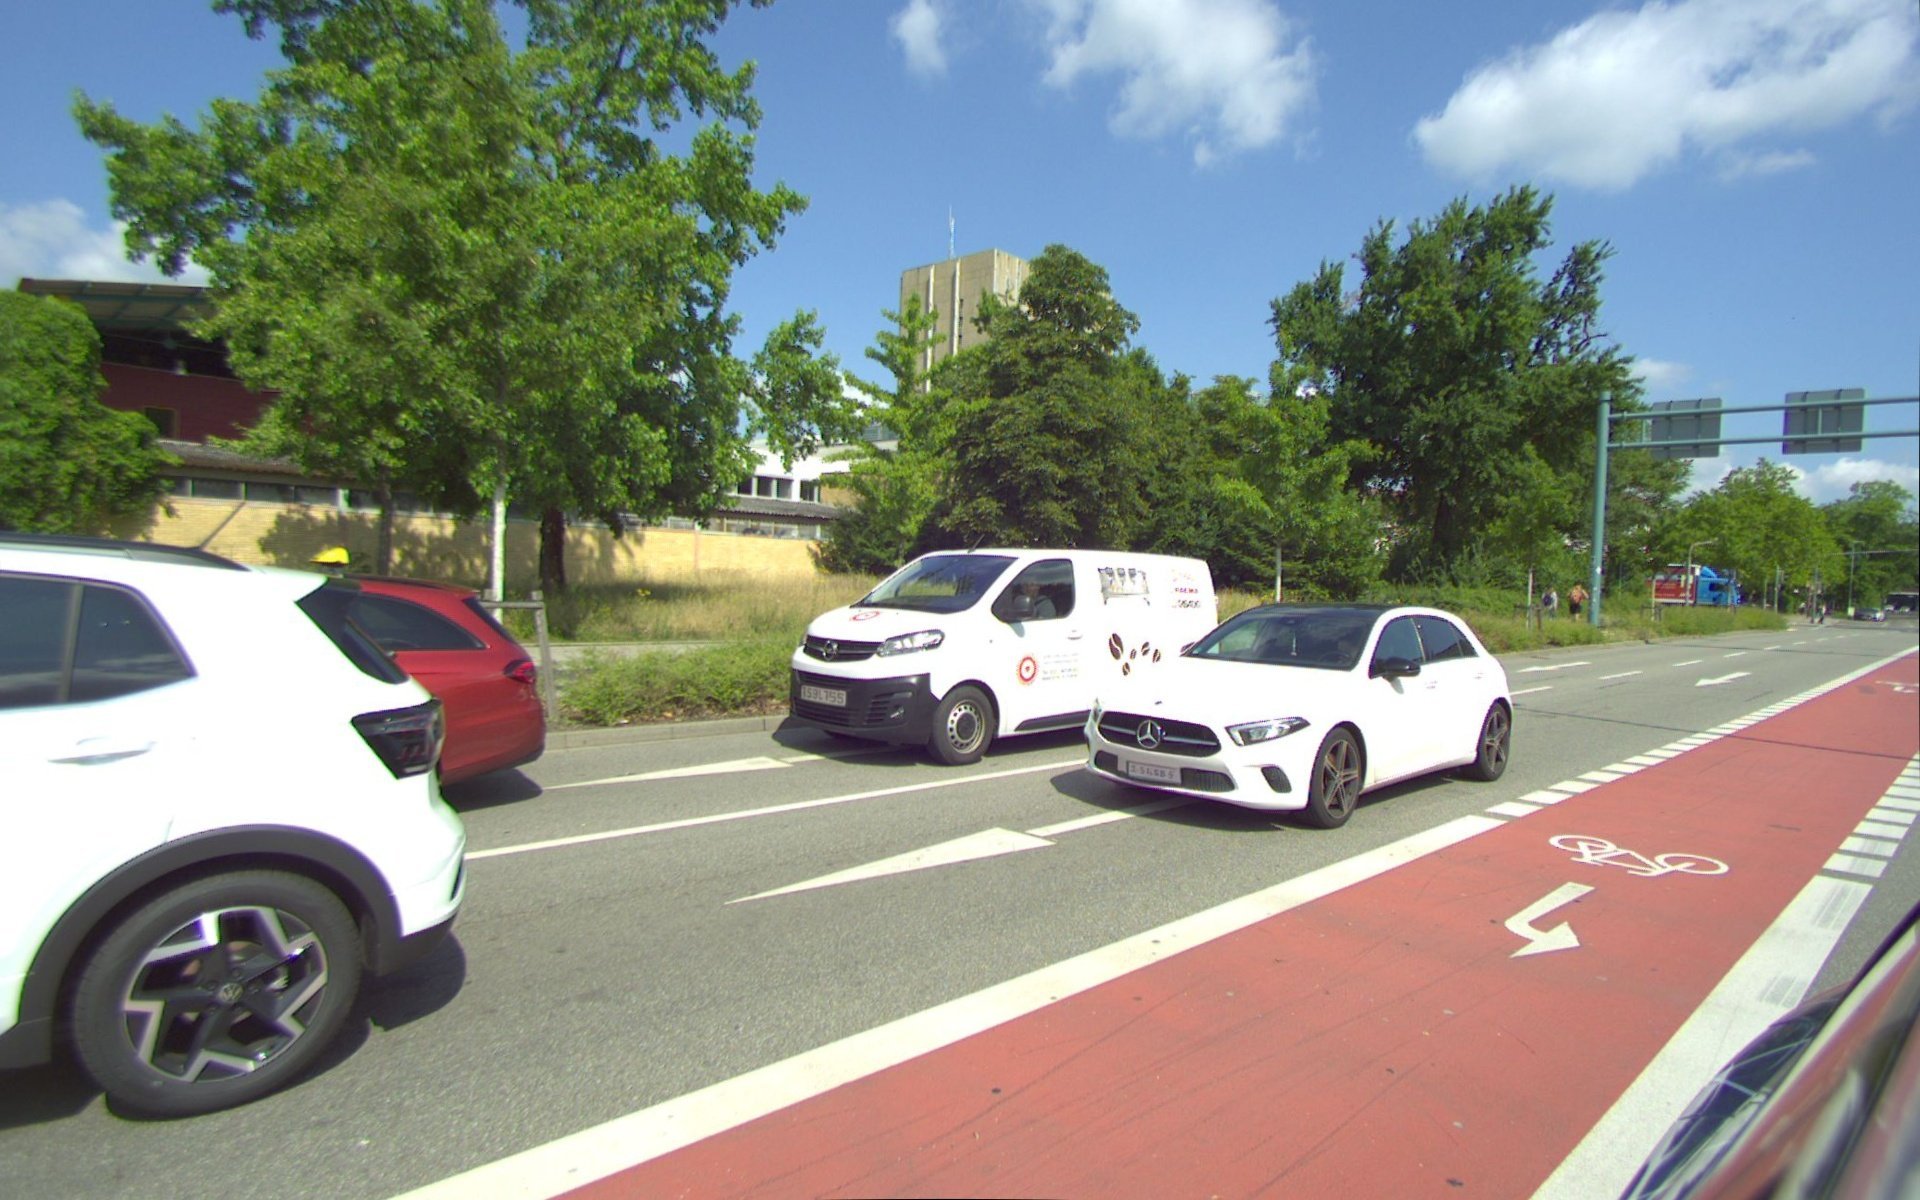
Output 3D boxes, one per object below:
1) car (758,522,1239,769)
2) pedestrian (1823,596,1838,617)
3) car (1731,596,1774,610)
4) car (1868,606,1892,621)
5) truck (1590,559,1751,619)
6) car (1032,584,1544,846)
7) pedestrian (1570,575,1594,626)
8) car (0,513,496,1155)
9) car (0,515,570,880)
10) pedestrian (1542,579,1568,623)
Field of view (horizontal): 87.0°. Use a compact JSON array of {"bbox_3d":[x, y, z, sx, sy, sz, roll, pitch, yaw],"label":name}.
[{"bbox_3d":[0.584,0.327,10.078,4.742,1.893,1.945,1,2,-42],"label":"car"},{"bbox_3d":[69.093,0.520,80.307,0.627,1.670,0.742,1,1,-38],"label":"pedestrian"},{"bbox_3d":[95.148,0.357,121.517,3.977,1.442,1.735,3,2,36],"label":"car"},{"bbox_3d":[97.420,1.411,107.177,1.703,1.345,3.941,6,4,41],"label":"car"},{"bbox_3d":[50.397,-0.871,72.020,9.146,3.846,2.628,3,2,39],"label":"truck"},{"bbox_3d":[2.765,0.664,7.960,4.309,1.441,1.907,1,2,-42],"label":"car"},{"bbox_3d":[22.938,0.022,37.321,0.628,1.824,0.568,1,1,-43],"label":"pedestrian"},{"bbox_3d":[-3.538,0.548,2.563,3.942,1.559,1.793,0,0,-42],"label":"car"},{"bbox_3d":[-4.637,0.416,5.487,4.387,1.661,1.683,0,2,-43],"label":"car"},{"bbox_3d":[22.294,0.034,37.928,0.696,1.600,0.624,1,1,-43],"label":"pedestrian"}]
